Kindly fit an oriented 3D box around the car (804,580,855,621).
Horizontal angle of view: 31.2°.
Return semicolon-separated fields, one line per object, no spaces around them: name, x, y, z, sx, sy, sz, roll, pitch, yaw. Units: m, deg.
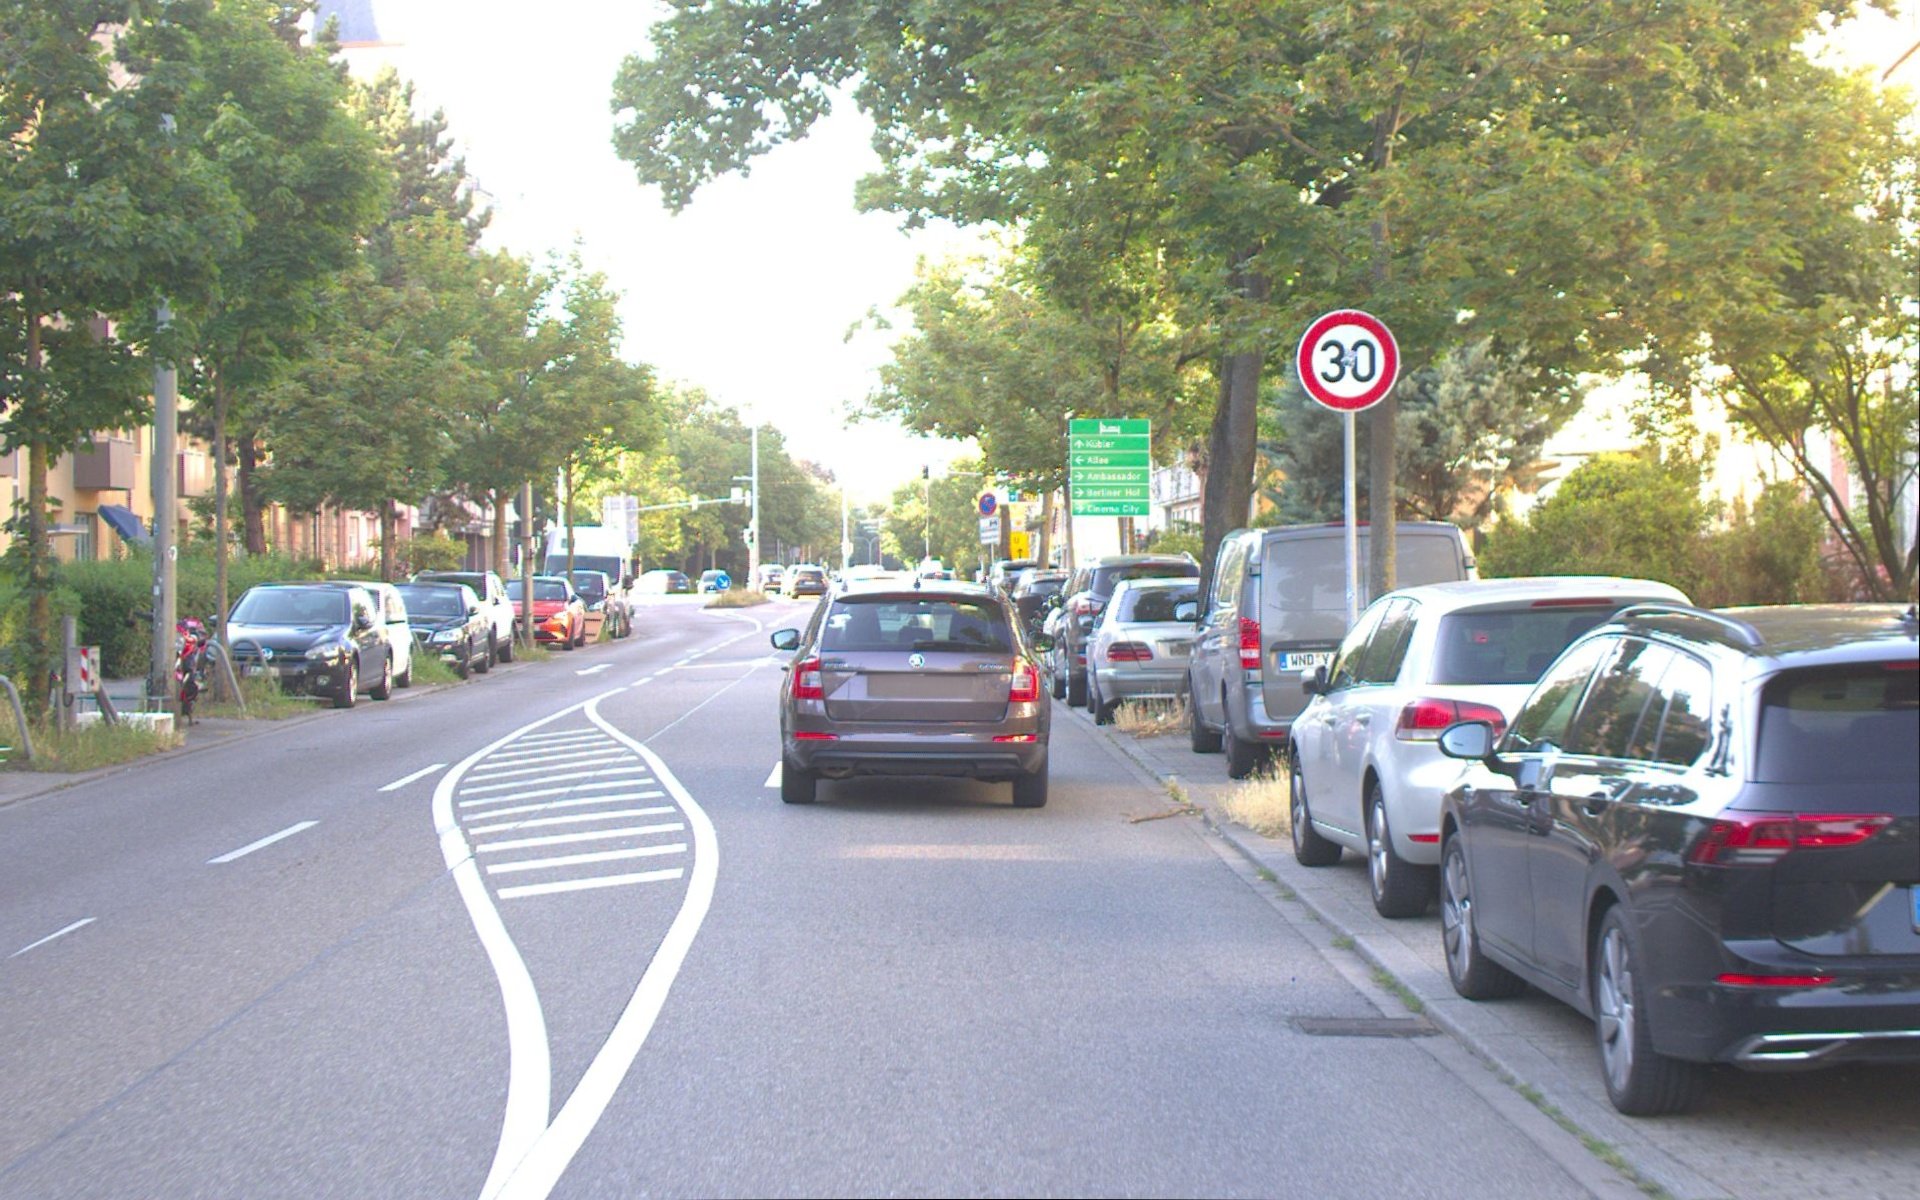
car;-4.922;0.010;129.250;1.780;1.475;3.971;1;1;-4

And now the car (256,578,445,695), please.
car;-8.292;0.462;47.078;1.781;1.475;3.971;1;1;1

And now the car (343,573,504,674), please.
car;-8.304;0.338;53.517;1.781;1.475;3.971;1;1;1

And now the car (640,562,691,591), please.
car;-16.329;-1.311;190.762;1.644;1.593;3.601;-1;1;-26

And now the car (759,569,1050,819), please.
car;-0.320;0.559;23.101;1.754;1.487;4.000;1;1;1

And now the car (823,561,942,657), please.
car;-1.341;0.167;59.234;1.892;1.501;3.790;3;-1;-1

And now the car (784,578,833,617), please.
car;-6.988;-0.123;158.069;1.993;1.744;4.001;0;1;-6

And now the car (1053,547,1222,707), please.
car;1.993;0.273;39.584;1.754;1.709;4.000;1;1;1

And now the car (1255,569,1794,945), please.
car;2.578;0.653;16.666;1.754;1.551;4.105;1;1;-2

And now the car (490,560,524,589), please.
car;-27.600;-1.570;209.305;1.993;1.744;4.001;0;1;-8

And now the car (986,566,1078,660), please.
car;1.451;0.240;70.325;1.754;1.800;4.000;-3;1;1

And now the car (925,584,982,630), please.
car;-0.257;0.234;123.244;1.644;1.593;3.651;0;1;-6

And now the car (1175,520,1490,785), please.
car;2.785;0.339;26.892;1.916;1.854;5.633;0;1;1

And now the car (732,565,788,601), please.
car;-9.740;-0.841;167.428;1.993;1.744;4.001;-1;1;-14

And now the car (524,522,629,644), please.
car;-9.130;-0.431;82.243;1.991;2.771;5.504;1;1;-2

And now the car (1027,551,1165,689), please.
car;1.837;0.245;47.555;1.754;1.800;4.000;1;1;1

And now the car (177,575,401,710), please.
car;-7.938;0.465;41.001;1.781;1.475;4.033;1;1;1

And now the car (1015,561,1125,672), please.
car;1.852;0.256;58.919;1.754;1.800;4.000;1;1;1

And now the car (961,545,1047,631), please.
car;0.944;-0.285;75.716;1.754;1.800;4.000;1;1;-1

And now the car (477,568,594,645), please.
car;-8.565;0.111;69.685;1.781;1.475;3.971;1;1;1

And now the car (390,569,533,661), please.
car;-8.552;0.229;59.213;1.781;1.475;3.971;1;1;1

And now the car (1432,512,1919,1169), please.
car;2.673;0.610;10.991;1.754;1.681;4.252;1;1;1

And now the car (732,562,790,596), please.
car;-10.414;-1.079;179.490;1.993;1.744;4.001;-1;1;-19

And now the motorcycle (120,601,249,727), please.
motorcycle;-7.888;0.631;35.042;0.740;1.200;2.141;1;1;2
